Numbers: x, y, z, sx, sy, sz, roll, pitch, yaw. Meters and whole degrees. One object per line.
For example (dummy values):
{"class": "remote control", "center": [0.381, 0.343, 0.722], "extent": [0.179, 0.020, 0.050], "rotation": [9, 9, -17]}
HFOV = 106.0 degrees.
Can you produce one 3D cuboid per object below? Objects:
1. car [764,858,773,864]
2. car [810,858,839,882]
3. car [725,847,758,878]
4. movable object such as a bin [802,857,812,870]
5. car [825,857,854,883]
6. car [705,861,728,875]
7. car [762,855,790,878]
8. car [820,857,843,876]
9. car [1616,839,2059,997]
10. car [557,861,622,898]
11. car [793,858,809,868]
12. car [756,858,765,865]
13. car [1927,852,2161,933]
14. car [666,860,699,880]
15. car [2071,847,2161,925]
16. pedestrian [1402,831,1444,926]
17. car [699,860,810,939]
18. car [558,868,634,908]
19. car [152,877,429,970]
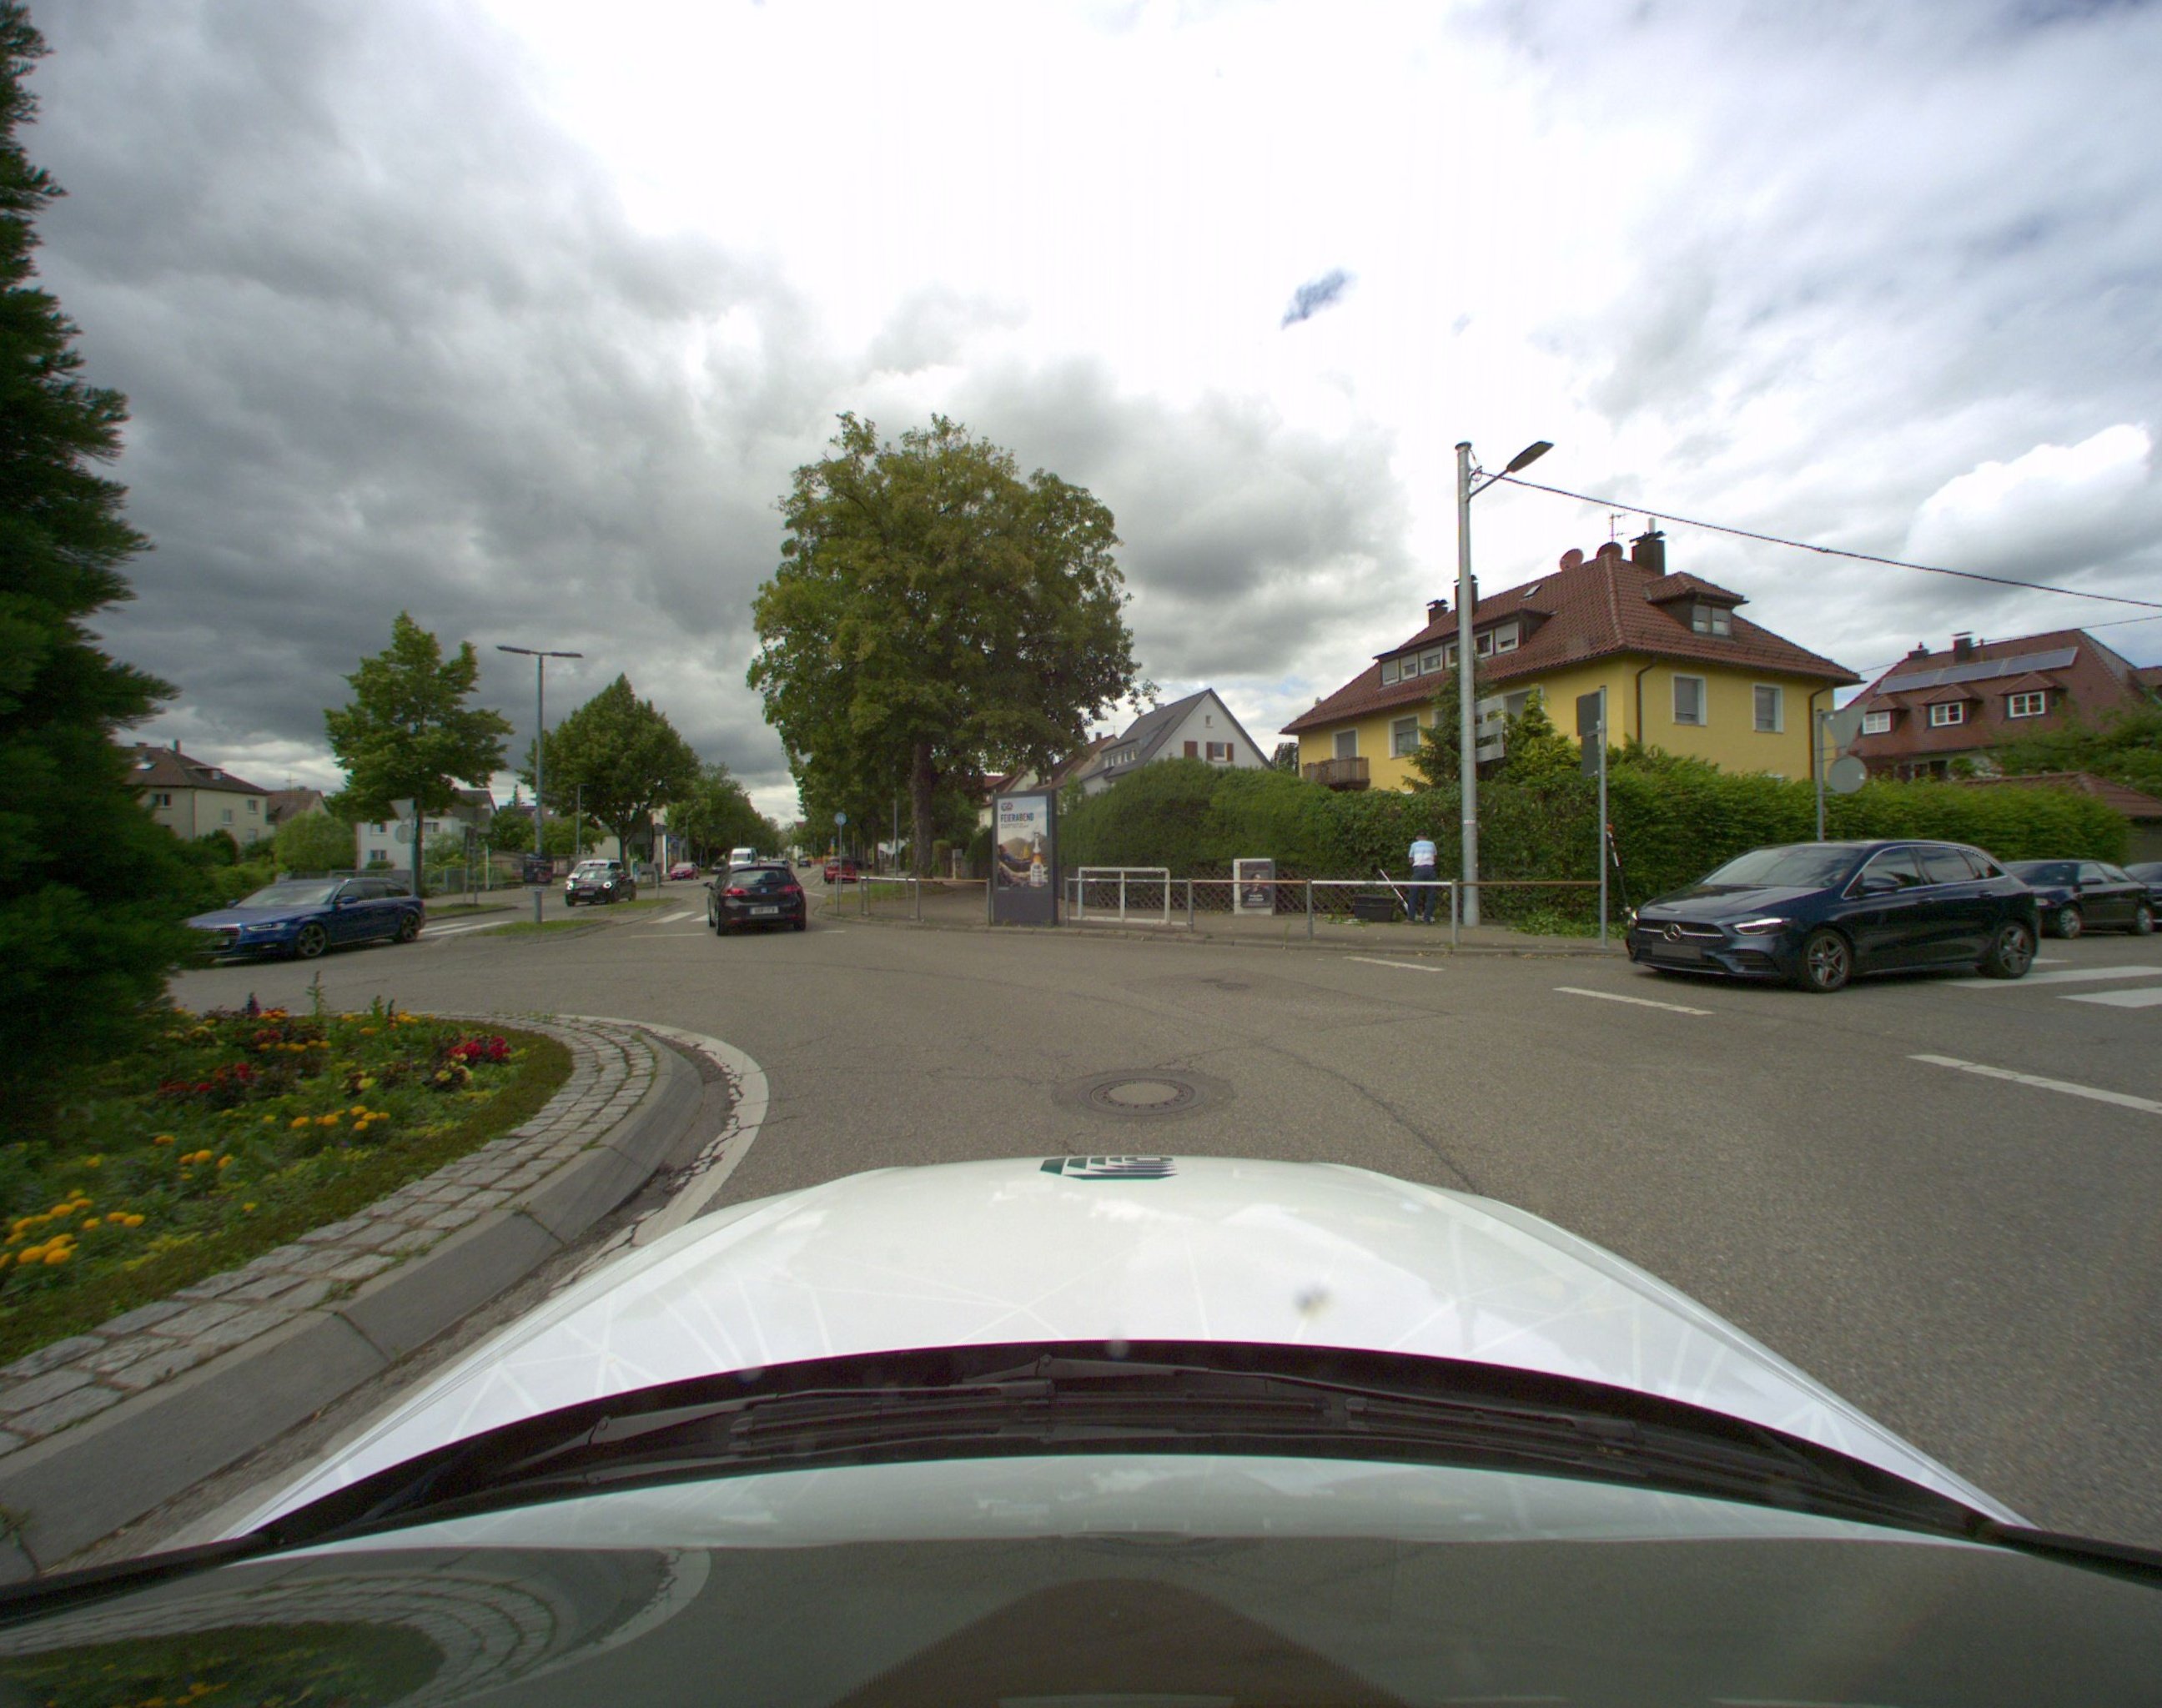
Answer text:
{"class": "car", "center": [-91.663, 2.056, 238.848], "extent": [1.821, 1.415, 3.658], "rotation": [-2, 0, -29]}
{"class": "car", "center": [-16.610, 0.996, 52.692], "extent": [1.658, 1.416, 4.150], "rotation": [-3, 1, -19]}
{"class": "car", "center": [-31.794, 0.756, 76.379], "extent": [2.023, 2.674, 5.775], "rotation": [-1, 0, -15]}
{"class": "movable object such as a bin", "center": [-55.743, 1.905, 165.551], "extent": [1.774, 2.574, 3.715], "rotation": [-1, 0, -20]}
{"class": "car", "center": [-14.213, 0.946, 47.873], "extent": [1.569, 1.455, 3.646], "rotation": [-1, -1, -17]}
{"class": "car", "center": [-40.039, 1.532, 89.519], "extent": [1.735, 1.469, 4.277], "rotation": [-2, 1, -16]}
{"class": "car", "center": [-24.343, 0.987, 65.089], "extent": [1.912, 1.685, 3.715], "rotation": [-2, 1, -20]}
{"class": "car", "center": [-21.043, 1.018, 68.546], "extent": [1.658, 1.416, 4.150], "rotation": [-3, 1, -19]}
{"class": "car", "center": [8.361, 0.595, 9.060], "extent": [4.314, 1.448, 1.575], "rotation": [-1, 0, -15]}
{"class": "car", "center": [-26.062, 1.319, 43.349], "extent": [1.774, 1.770, 4.527], "rotation": [-1, 0, -15]}
{"class": "car", "center": [-40.567, 1.324, 118.049], "extent": [1.819, 1.375, 3.663], "rotation": [-2, 0, -25]}
{"class": "car", "center": [-86.635, 1.950, 220.296], "extent": [1.971, 1.830, 4.790], "rotation": [-2, 0, -17]}
{"class": "car", "center": [17.635, 0.653, 14.893], "extent": [3.784, 1.348, 1.541], "rotation": [1, 0, -19]}
{"class": "car", "center": [-33.303, 1.307, 68.154], "extent": [1.688, 1.541, 4.110], "rotation": [-1, 0, -15]}
{"class": "car", "center": [22.062, 0.592, 16.327], "extent": [3.853, 1.403, 1.541], "rotation": [-2, 1, -19]}
{"class": "pedestrian", "center": [6.139, 0.424, 14.611], "extent": [0.646, 1.656, 0.598], "rotation": [-1, 0, 24]}
{"class": "car", "center": [-7.162, 0.899, 17.671], "extent": [1.829, 1.437, 3.706], "rotation": [-2, 1, -28]}
{"class": "car", "center": [-18.898, 1.295, 31.860], "extent": [1.576, 1.362, 3.723], "rotation": [-1, 0, -15]}
{"class": "car", "center": [-14.716, 1.199, 15.569], "extent": [1.610, 1.372, 4.487], "rotation": [-3, 0, -12]}
